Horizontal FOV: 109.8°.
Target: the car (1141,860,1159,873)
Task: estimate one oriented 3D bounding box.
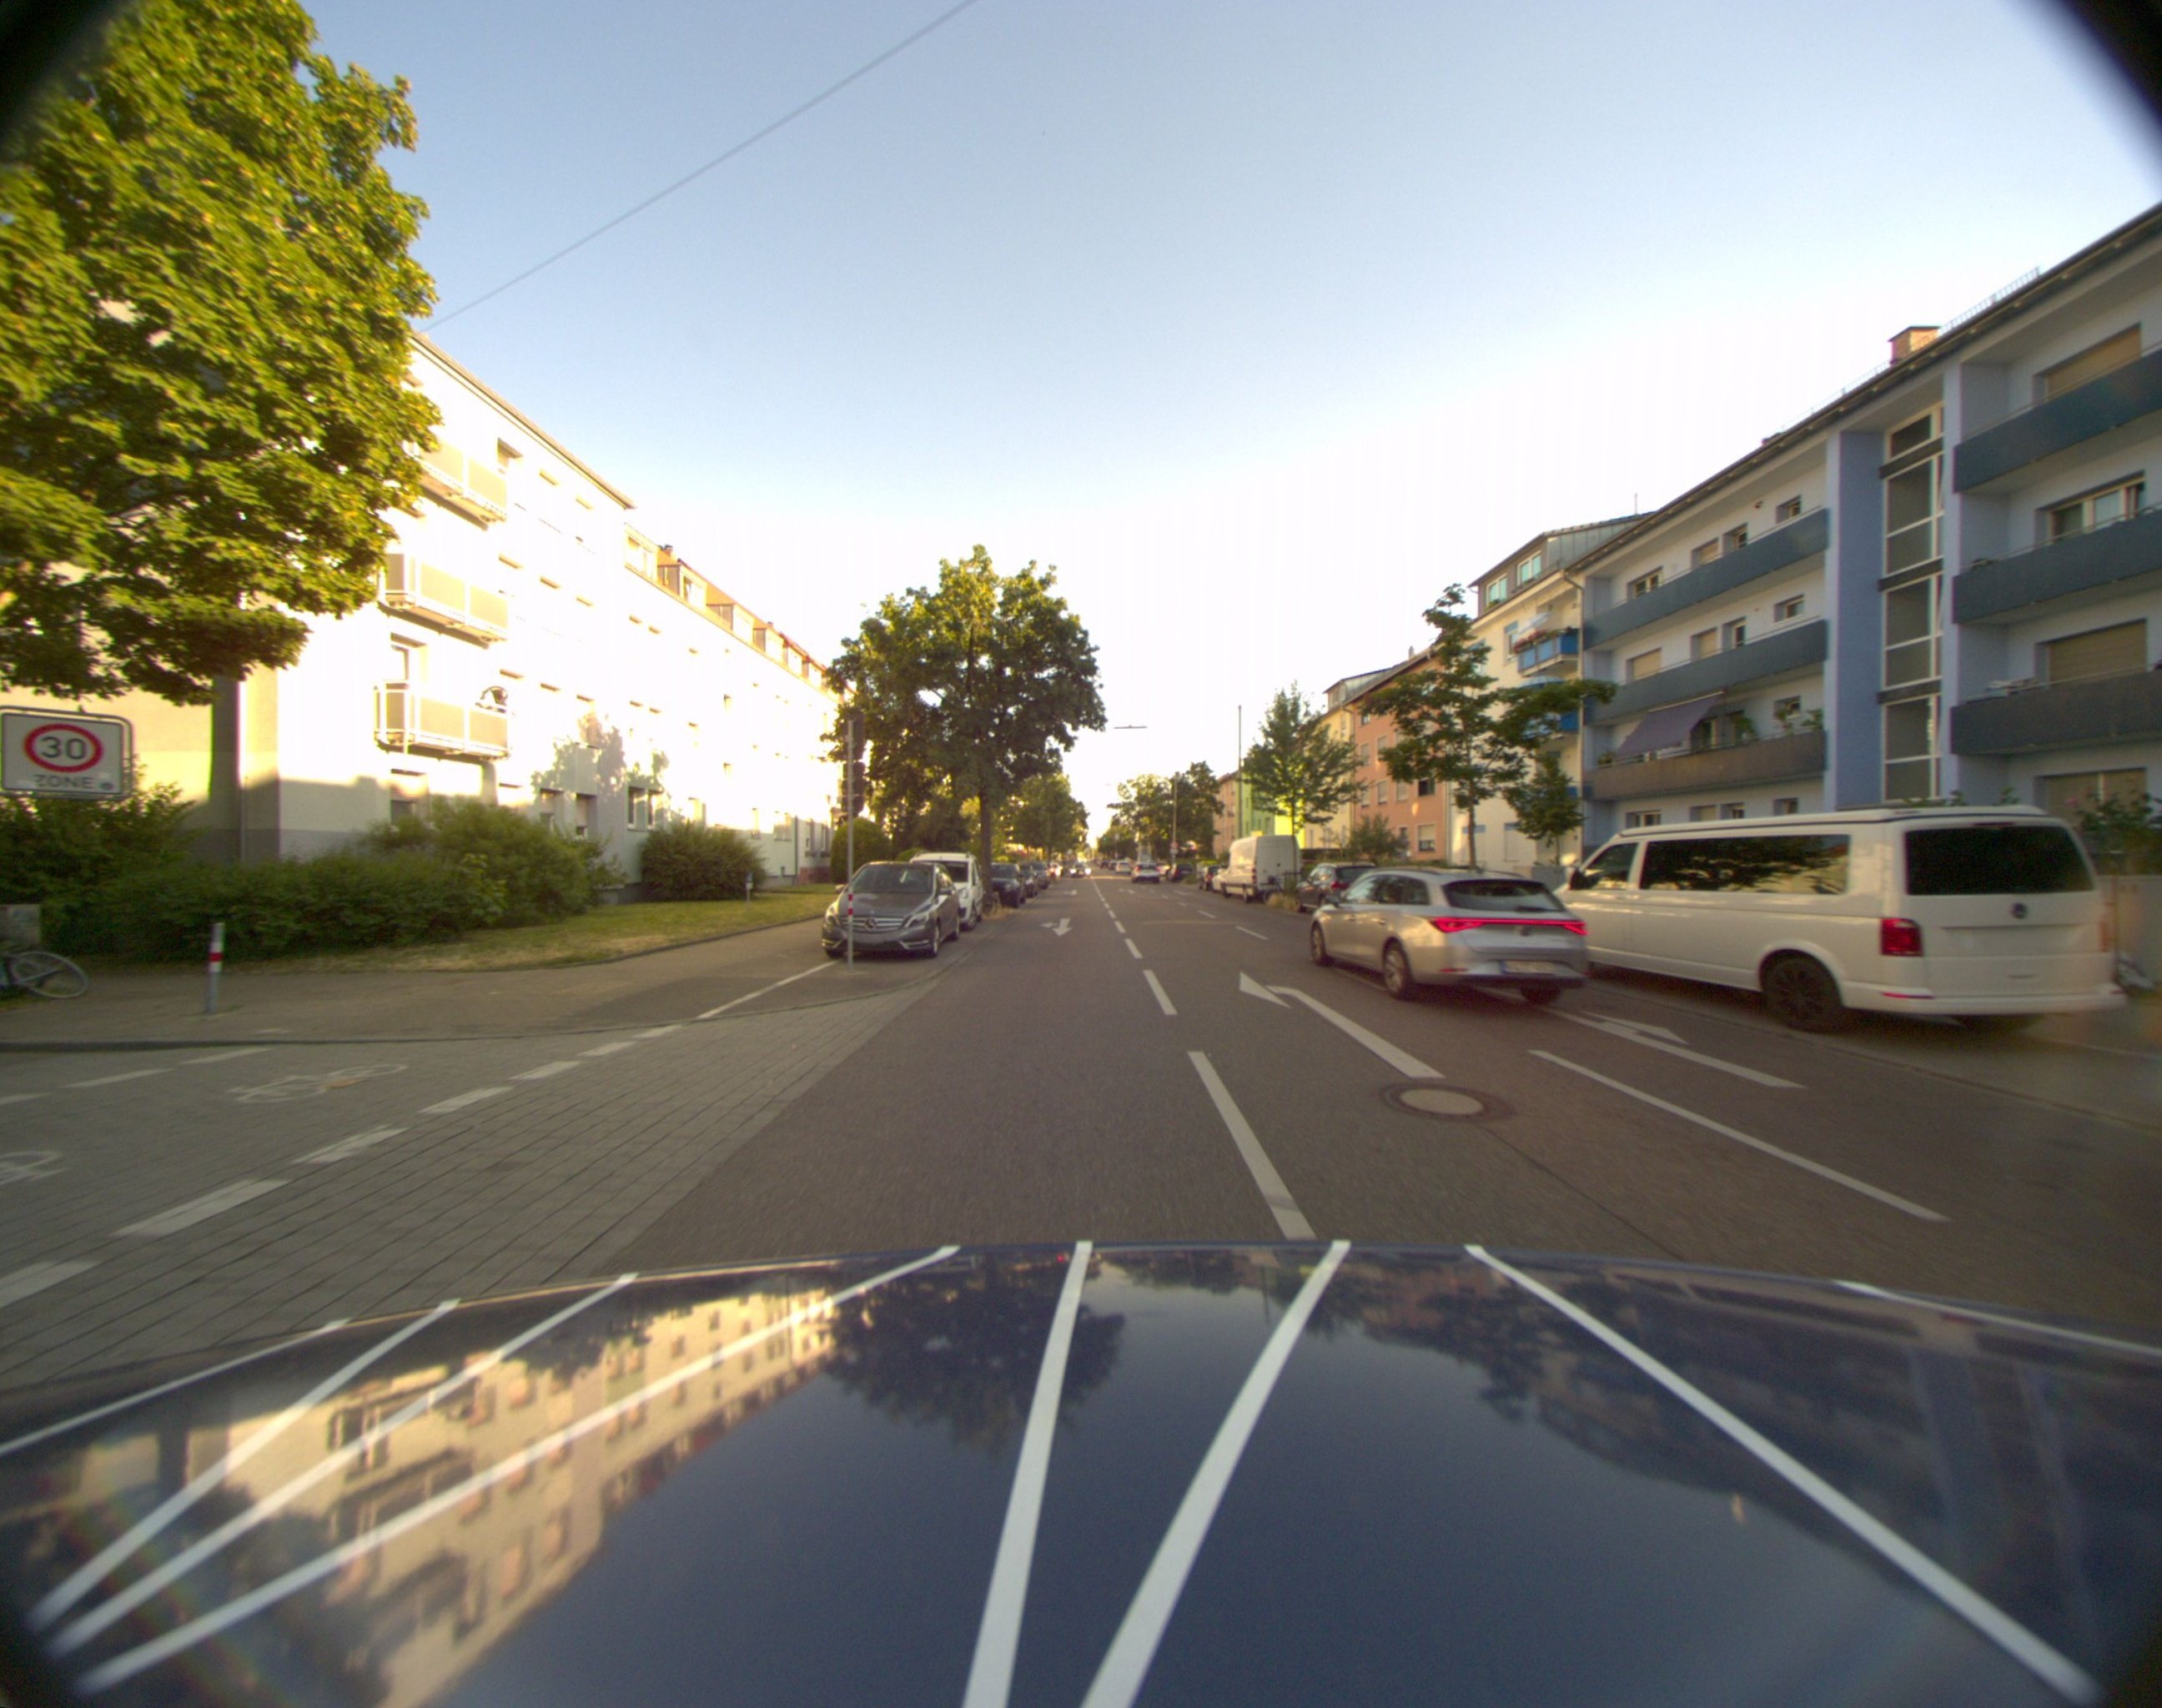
[{"bbox_3d":[8.005,1.454,88.734,1.687,1.512,4.190,0,0,-1],"label":"car"}]

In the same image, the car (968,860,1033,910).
[{"bbox_3d":[-2.830,1.067,27.626,1.758,1.653,4.253,0,0,2],"label":"car"}]

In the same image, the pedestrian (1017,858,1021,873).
[{"bbox_3d":[-6.779,1.279,83.119,0.512,1.687,0.527,0,0,-4],"label":"pedestrian"}]

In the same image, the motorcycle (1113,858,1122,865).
[{"bbox_3d":[8.396,1.778,175.023,1.263,1.526,2.887,0,0,-14],"label":"motorcycle"}]

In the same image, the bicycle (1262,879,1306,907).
[{"bbox_3d":[7.434,1.424,27.854,1.475,1.008,0.440,-1,0,8],"label":"bicycle"}]

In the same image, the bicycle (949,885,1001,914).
[{"bbox_3d":[-3.238,1.397,23.228,1.556,0.864,0.393,0,0,-3],"label":"bicycle"}]

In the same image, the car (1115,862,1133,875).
[{"bbox_3d":[5.219,1.751,92.717,1.884,1.534,4.267,0,-1,-1],"label":"car"}]

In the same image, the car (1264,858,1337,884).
[{"bbox_3d":[13.653,1.055,47.419,3.997,1.404,1.916,-2,0,1],"label":"car"}]

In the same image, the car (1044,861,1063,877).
[{"bbox_3d":[-2.664,1.416,74.914,1.641,1.481,4.415,1,0,0],"label":"car"}]

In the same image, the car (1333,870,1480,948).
[{"bbox_3d":[7.103,1.128,17.048,1.696,1.475,4.144,0,0,3],"label":"car"}]

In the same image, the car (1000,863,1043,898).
[{"bbox_3d":[-2.686,1.179,34.966,1.617,1.457,3.959,1,0,0],"label":"car"}]

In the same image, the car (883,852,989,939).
[{"bbox_3d":[-3.369,0.900,18.462,1.805,1.797,4.423,-2,0,-2],"label":"car"}]

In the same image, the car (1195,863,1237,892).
[{"bbox_3d":[7.537,1.292,42.633,1.616,1.464,3.813,-2,0,0],"label":"car"}]

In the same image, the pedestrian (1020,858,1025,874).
[{"bbox_3d":[-6.300,1.284,81.994,0.512,1.687,0.527,0,0,-4],"label":"pedestrian"}]

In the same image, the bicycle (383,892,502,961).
[{"bbox_3d":[-10.065,1.110,12.052,0.476,0.939,1.680,0,0,0],"label":"bicycle"}]

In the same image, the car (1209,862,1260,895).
[{"bbox_3d":[7.626,1.202,38.121,1.711,1.483,4.058,-3,0,0],"label":"car"}]

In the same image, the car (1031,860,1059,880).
[{"bbox_3d":[-2.897,1.303,62.650,1.879,1.572,4.821,1,0,2],"label":"car"}]

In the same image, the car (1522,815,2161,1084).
[{"bbox_3d":[7.412,0.743,8.451,1.873,2.019,5.300,-1,0,0],"label":"car"}]

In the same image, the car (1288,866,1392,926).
[{"bbox_3d":[7.467,1.142,22.366,1.676,1.534,4.474,0,0,2],"label":"car"}]

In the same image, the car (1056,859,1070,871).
[{"bbox_3d":[-2.380,1.481,101.484,1.797,1.622,4.029,0,0,-1],"label":"car"}]

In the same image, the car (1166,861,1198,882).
[{"bbox_3d":[7.581,1.318,57.484,1.783,1.496,4.588,-1,0,0],"label":"car"}]

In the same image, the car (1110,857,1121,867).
[{"bbox_3d":[5.533,1.234,121.620,1.703,1.462,4.296,1,0,5],"label":"car"}]

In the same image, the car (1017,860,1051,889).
[{"bbox_3d":[-2.685,1.174,44.404,1.722,1.591,4.096,0,0,0],"label":"car"}]

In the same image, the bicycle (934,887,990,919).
[{"bbox_3d":[-3.390,1.390,21.633,1.557,0.864,0.393,0,0,-8],"label":"bicycle"}]

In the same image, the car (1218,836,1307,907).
[{"bbox_3d":[7.406,0.687,31.818,1.998,2.601,7.105,-1,0,0],"label":"car"}]

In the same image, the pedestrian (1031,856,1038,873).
[{"bbox_3d":[-5.058,1.142,82.313,0.549,1.838,0.765,0,0,7],"label":"pedestrian"}]

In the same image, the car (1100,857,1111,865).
[{"bbox_3d":[4.478,1.244,138.770,1.704,1.395,4.028,2,0,0],"label":"car"}]

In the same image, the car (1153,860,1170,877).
[{"bbox_3d":[7.875,1.433,74.637,1.502,1.607,2.862,-1,0,3],"label":"car"}]

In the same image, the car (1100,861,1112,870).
[{"bbox_3d":[4.501,2.013,139.110,1.837,1.462,4.451,-5,0,-2],"label":"car"}]

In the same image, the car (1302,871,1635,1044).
[{"bbox_3d":[4.228,1.012,9.216,1.744,1.470,4.309,3,0,-1],"label":"car"}]

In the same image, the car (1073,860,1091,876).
[{"bbox_3d":[0.111,1.393,74.534,1.641,1.481,4.415,1,0,0],"label":"car"}]

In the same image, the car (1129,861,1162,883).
[{"bbox_3d":[4.586,1.262,54.495,1.786,1.486,3.969,0,0,-3],"label":"car"}]

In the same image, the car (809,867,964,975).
[{"bbox_3d":[-3.223,1.038,13.453,1.759,1.547,4.251,1,0,-2],"label":"car"}]

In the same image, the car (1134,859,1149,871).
[{"bbox_3d":[8.154,1.492,103.022,1.641,1.543,3.785,0,0,-2],"label":"car"}]
